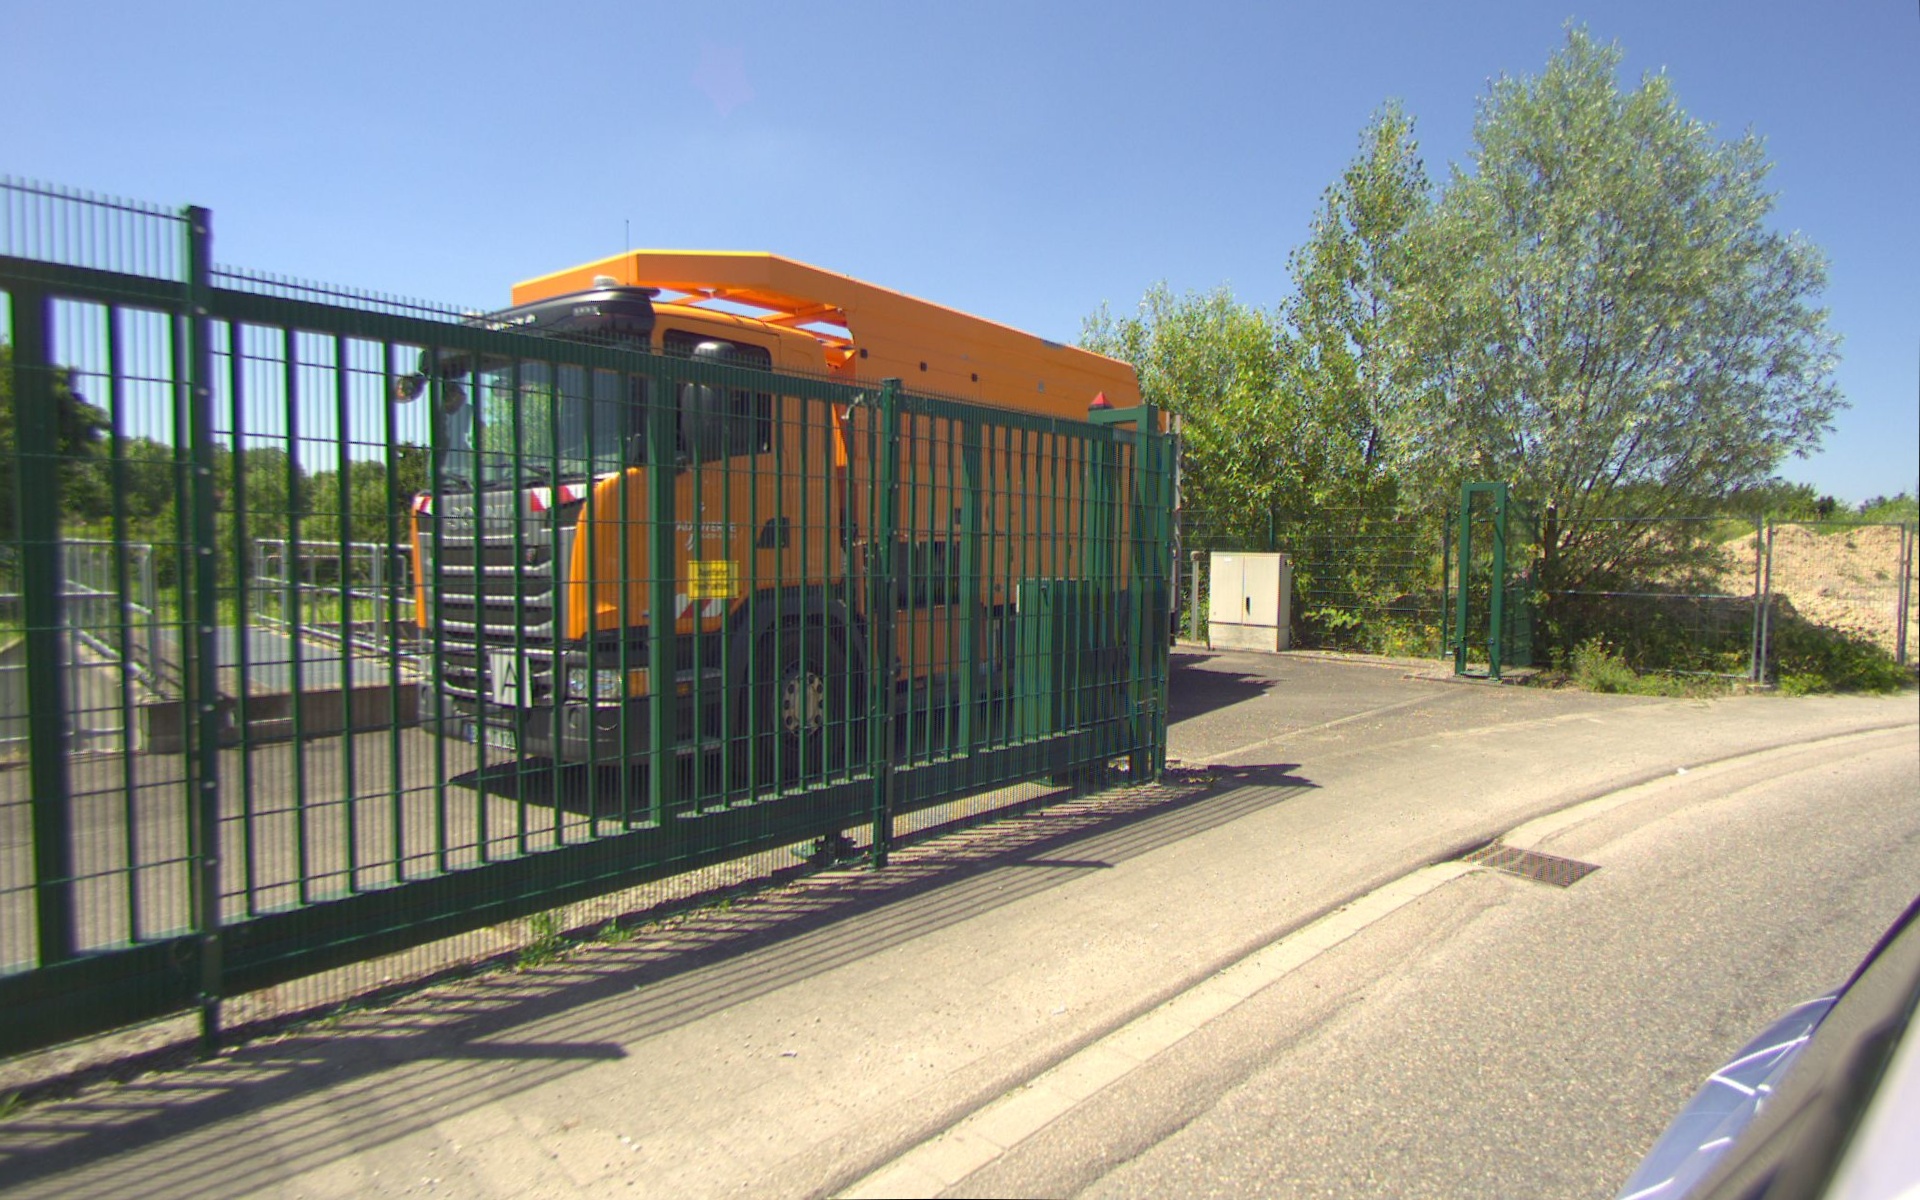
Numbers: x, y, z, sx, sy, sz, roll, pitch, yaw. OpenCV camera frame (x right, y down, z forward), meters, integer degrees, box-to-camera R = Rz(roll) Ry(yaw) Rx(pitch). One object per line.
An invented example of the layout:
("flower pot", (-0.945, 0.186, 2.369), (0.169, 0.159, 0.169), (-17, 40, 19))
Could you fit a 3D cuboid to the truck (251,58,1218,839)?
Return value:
("truck", (-1.076, -0.995, 9.727), (4.139, 3.852, 8.506), (3, 4, 35))
